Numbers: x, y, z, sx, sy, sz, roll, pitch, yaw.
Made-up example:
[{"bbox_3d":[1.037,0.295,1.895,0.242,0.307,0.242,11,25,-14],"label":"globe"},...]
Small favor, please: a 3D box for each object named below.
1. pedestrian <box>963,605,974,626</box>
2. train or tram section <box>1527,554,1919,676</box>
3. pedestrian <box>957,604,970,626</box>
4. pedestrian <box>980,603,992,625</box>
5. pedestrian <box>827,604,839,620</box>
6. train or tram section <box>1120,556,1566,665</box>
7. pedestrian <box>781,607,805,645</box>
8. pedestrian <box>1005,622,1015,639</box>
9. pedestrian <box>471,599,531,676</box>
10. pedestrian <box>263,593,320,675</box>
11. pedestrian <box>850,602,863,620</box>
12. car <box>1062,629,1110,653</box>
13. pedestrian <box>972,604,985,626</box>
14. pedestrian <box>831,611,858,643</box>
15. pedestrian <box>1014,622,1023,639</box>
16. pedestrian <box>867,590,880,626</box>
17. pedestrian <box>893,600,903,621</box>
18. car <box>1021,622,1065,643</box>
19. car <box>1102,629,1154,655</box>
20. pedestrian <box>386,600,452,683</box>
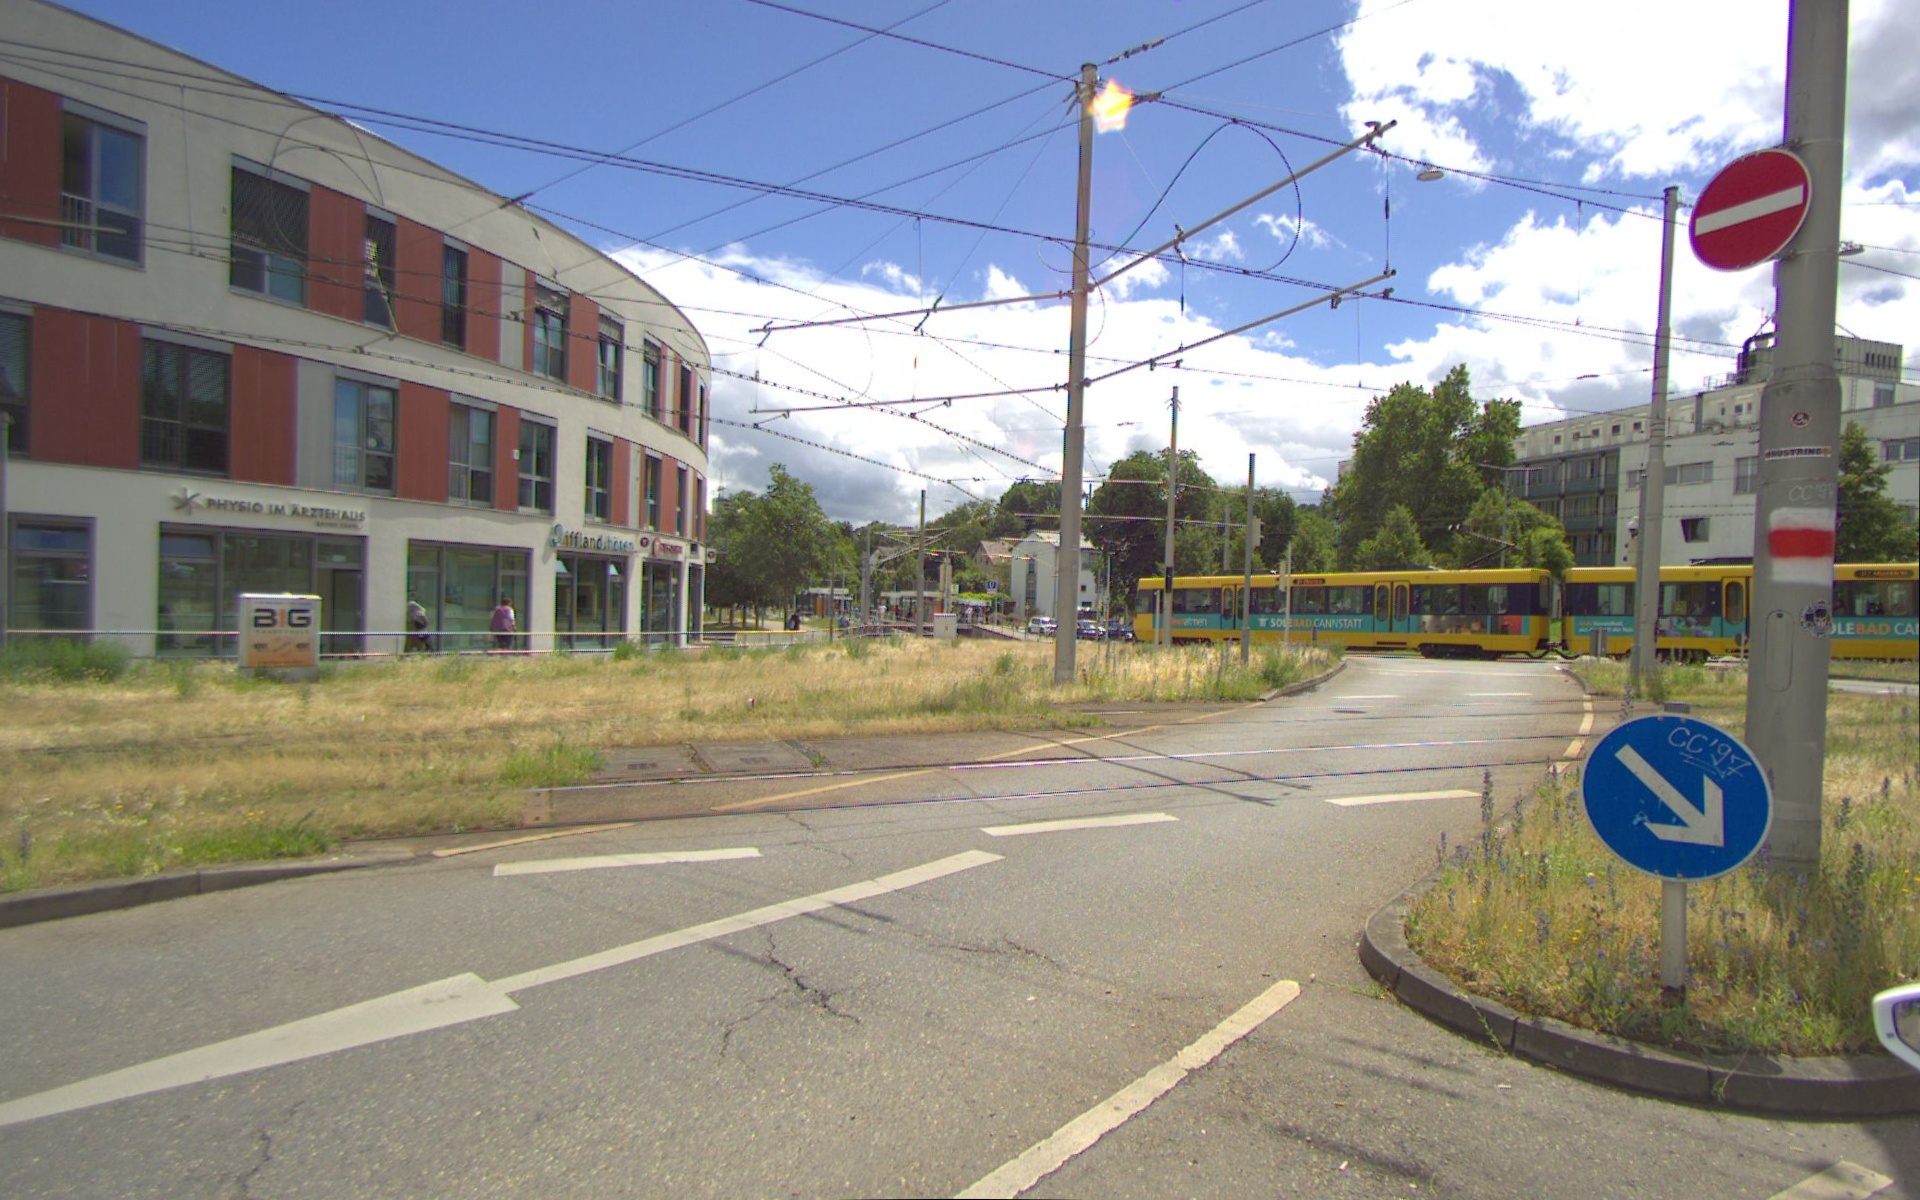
[{"bbox_3d":[0.716,1.272,82.486,0.744,1.707,0.671,1,0,-16],"label":"pedestrian"},{"bbox_3d":[30.739,0.544,34.004,19.766,3.880,3.759,1,-2,25],"label":"train or tram section"},{"bbox_3d":[0.297,1.205,81.755,0.824,1.777,0.795,1,0,-16],"label":"pedestrian"},{"bbox_3d":[2.079,1.122,79.675,0.824,1.714,0.616,1,0,-16],"label":"pedestrian"},{"bbox_3d":[-16.708,1.557,132.056,1.241,2.040,1.121,2,-1,-19],"label":"pedestrian"},{"bbox_3d":[15.839,0.455,44.578,3.738,3.970,18.644,3,-2,-45],"label":"train or tram section"},{"bbox_3d":[-7.471,1.163,44.956,0.847,1.646,0.733,1,-1,7],"label":"pedestrian"},{"bbox_3d":[5.751,3.470,115.520,0.818,1.891,0.817,1,0,-16],"label":"pedestrian"},{"bbox_3d":[-12.168,0.985,26.665,0.849,1.994,1.104,1,-1,30],"label":"pedestrian"},{"bbox_3d":[-13.344,0.666,20.061,0.723,1.601,0.689,0,-1,32],"label":"pedestrian"},{"bbox_3d":[-12.292,1.317,119.337,1.241,2.040,1.121,2,-1,-19],"label":"pedestrian"},{"bbox_3d":[9.263,2.997,74.037,1.889,1.672,4.238,2,-2,-18],"label":"car"},{"bbox_3d":[1.470,1.226,81.045,0.824,1.755,0.795,1,0,-16],"label":"pedestrian"},{"bbox_3d":[-6.113,1.426,53.181,1.016,1.646,0.984,1,-1,25],"label":"pedestrian"},{"bbox_3d":[6.710,3.499,115.696,0.818,1.891,0.817,1,0,-16],"label":"pedestrian"},{"bbox_3d":[-14.962,1.380,173.208,1.964,5.998,2.368,2,-1,-9],"label":"pedestrian"},{"bbox_3d":[-6.238,1.071,101.360,0.807,2.040,0.771,2,-1,-15],"label":"pedestrian"},{"bbox_3d":[6.609,2.586,80.297,1.908,1.575,4.474,2,-2,-18],"label":"car"},{"bbox_3d":[12.345,3.074,74.049,1.991,1.814,4.222,2,-1,-18],"label":"car"},{"bbox_3d":[-13.468,1.029,25.043,0.849,1.994,1.114,1,-1,29],"label":"pedestrian"}]
